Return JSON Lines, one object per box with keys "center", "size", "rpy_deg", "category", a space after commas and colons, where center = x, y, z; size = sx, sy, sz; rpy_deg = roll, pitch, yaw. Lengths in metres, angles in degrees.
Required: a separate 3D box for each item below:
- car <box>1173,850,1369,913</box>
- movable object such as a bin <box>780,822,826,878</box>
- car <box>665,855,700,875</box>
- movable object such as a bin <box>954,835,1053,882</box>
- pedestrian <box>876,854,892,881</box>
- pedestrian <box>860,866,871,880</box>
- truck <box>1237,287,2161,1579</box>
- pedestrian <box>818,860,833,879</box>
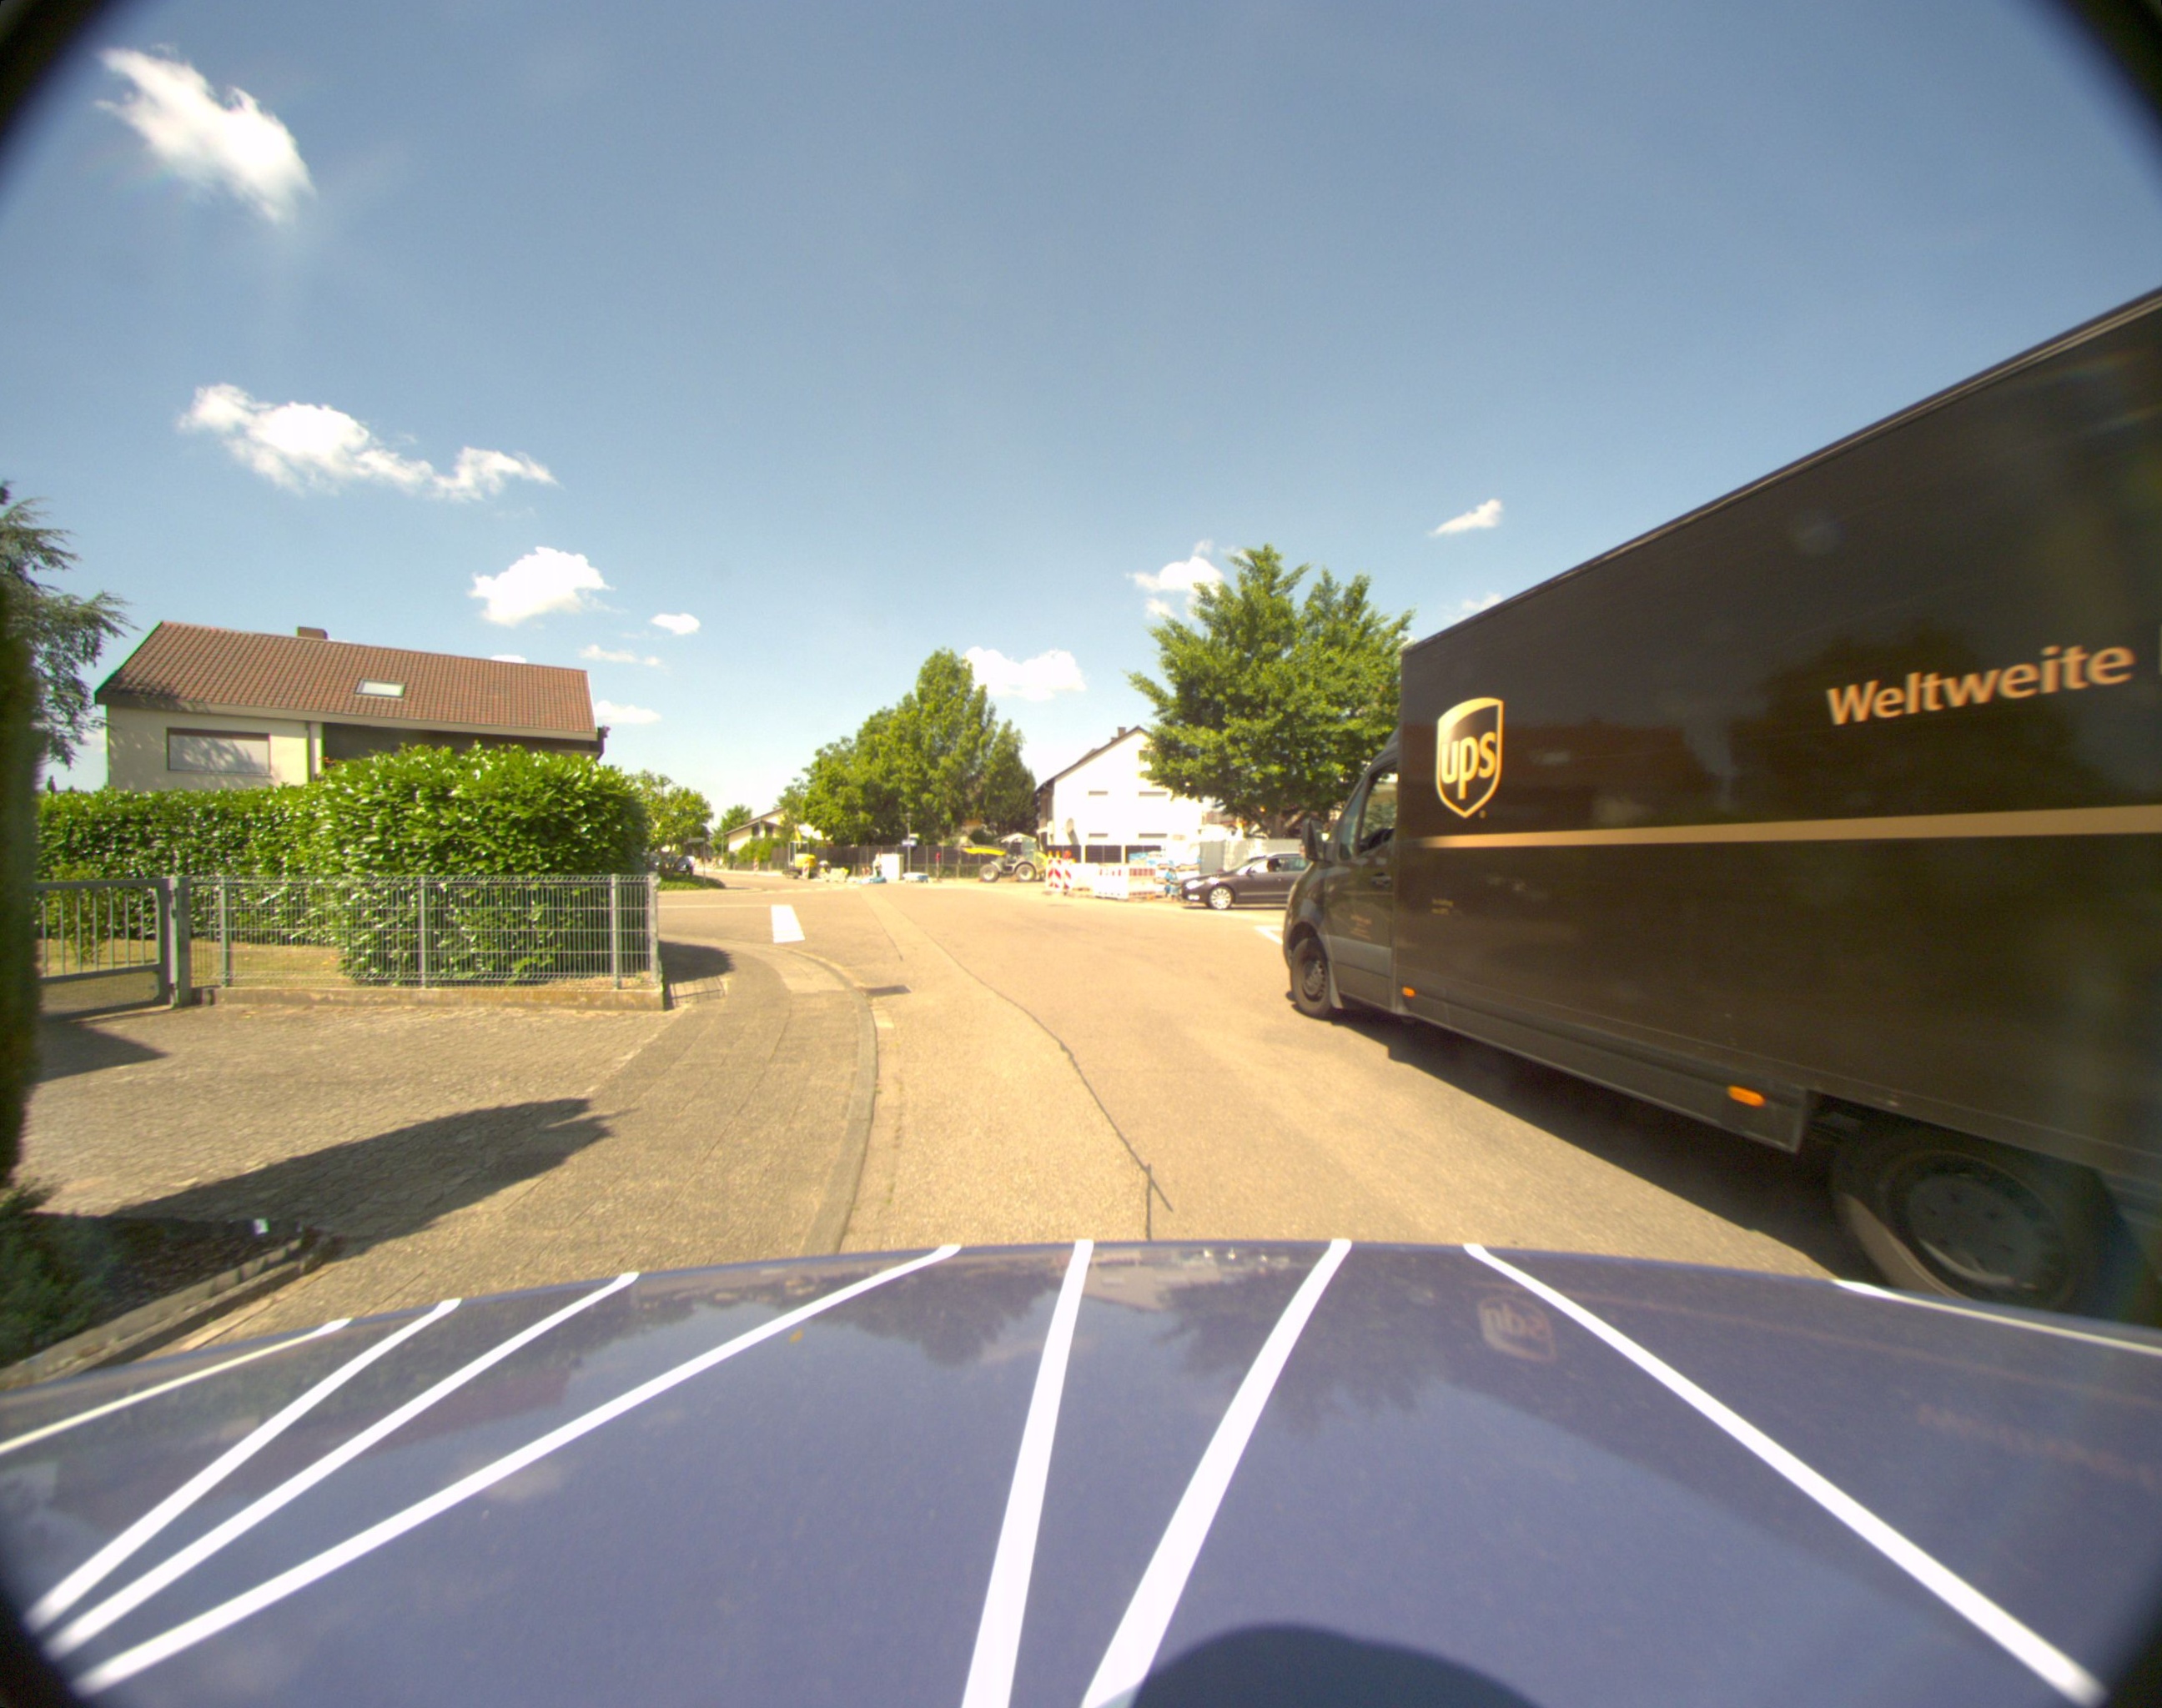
{"center": [4.882, 0.720, 20.026], "size": [4.705, 1.526, 1.787], "rpy_deg": [-1, -1, 2], "category": "car"}
{"center": [-18.526, -0.271, 50.544], "size": [2.004, 3.545, 3.805], "rpy_deg": [-1, 1, -35], "category": "movable object such as a bin"}
{"center": [-32.230, 0.848, 61.402], "size": [1.924, 1.533, 3.989], "rpy_deg": [-1, 0, -37], "category": "car"}
{"center": [-4.159, 0.266, 41.366], "size": [5.230, 2.437, 2.000], "rpy_deg": [-1, -1, -4], "category": "movable object such as a bin"}
{"center": [-11.355, 0.761, 43.811], "size": [0.851, 1.505, 0.532], "rpy_deg": [-1, 1, -7], "category": "pedestrian"}
{"center": [-12.875, 1.128, 45.412], "size": [0.431, 0.788, 0.522], "rpy_deg": [-1, 1, 2], "category": "pedestrian"}
{"center": [3.261, 0.159, 3.965], "size": [2.441, 2.772, 7.292], "rpy_deg": [3, 1, -7], "category": "truck"}
{"center": [-16.173, 1.002, 48.059], "size": [0.511, 1.162, 0.826], "rpy_deg": [0, 1, 13], "category": "pedestrian"}
